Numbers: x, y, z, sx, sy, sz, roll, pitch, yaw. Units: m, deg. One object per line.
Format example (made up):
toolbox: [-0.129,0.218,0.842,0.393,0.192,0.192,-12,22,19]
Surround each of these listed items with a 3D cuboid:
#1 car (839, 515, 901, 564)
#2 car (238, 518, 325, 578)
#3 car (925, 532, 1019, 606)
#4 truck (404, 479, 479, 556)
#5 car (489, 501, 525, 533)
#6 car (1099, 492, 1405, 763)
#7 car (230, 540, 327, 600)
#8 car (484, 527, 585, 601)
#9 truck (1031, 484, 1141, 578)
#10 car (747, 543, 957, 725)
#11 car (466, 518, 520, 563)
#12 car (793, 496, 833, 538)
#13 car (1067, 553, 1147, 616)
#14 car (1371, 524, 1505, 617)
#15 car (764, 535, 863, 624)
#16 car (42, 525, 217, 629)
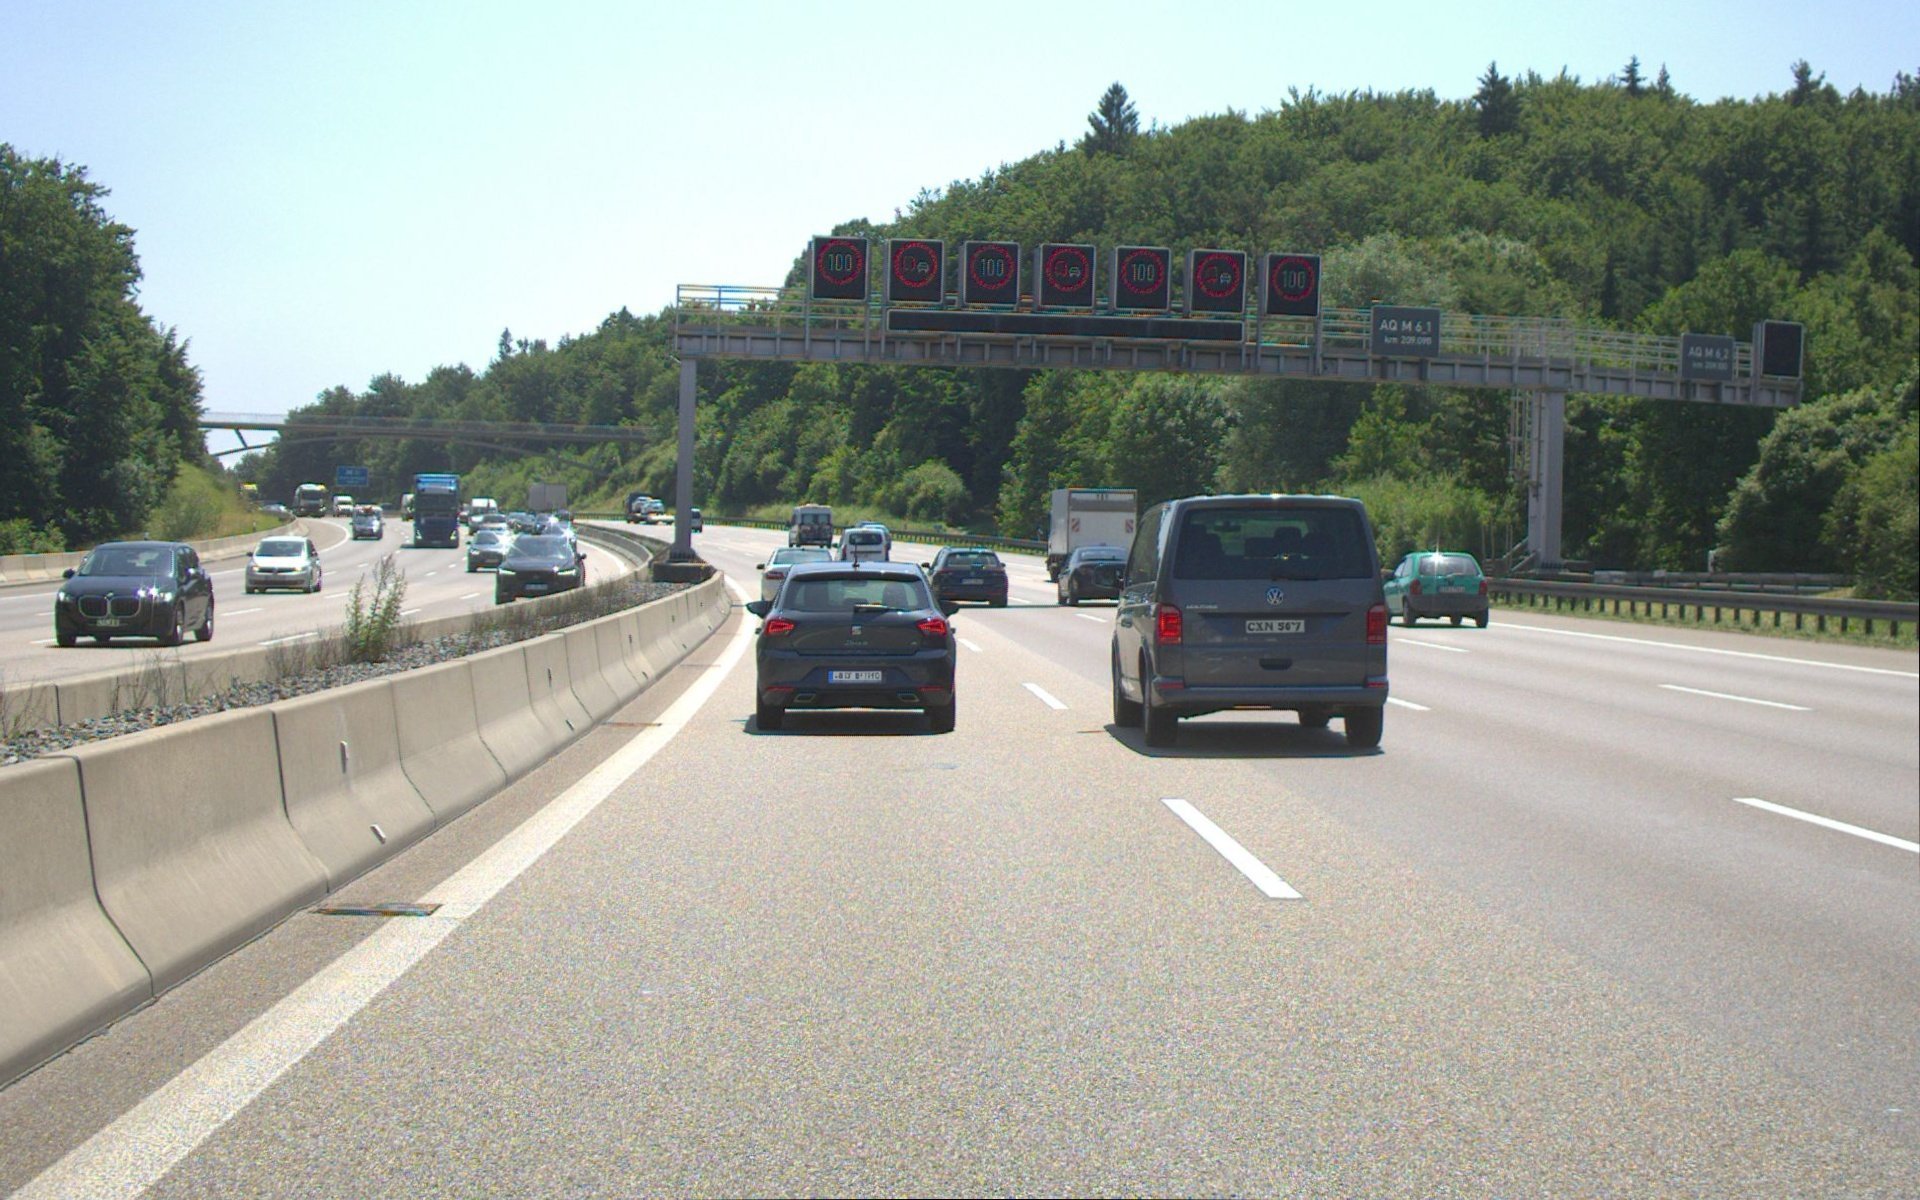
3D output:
car: [-3.405,-2.272,128.716,2.103,1.738,4.688,1,2,-4]
car: [-18.666,-1.440,94.763,1.717,1.599,4.282,0,1,-2]
car: [0.266,-0.739,82.845,1.993,1.722,4.149,0,0,-3]
truck: [-29.298,-4.661,194.565,3.785,4.163,5.880,1,1,-5]
car: [-28.219,-5.186,214.258,1.993,1.960,4.784,0,1,-4]
car: [2.298,0.171,28.373,1.963,2.026,5.084,0,1,-1]
car: [-18.761,-0.849,94.835,1.993,1.526,4.379,1,1,-3]
car: [-9.935,-0.854,80.482,1.993,1.662,4.435,0,1,-2]
truck: [4.333,-2.454,120.140,2.985,3.156,7.576,1,2,-4]
car: [-0.957,0.251,30.367,1.708,1.428,4.001,1,1,-2]
car: [-18.022,-2.315,132.775,1.754,1.629,4.639,0,2,-4]
car: [-8.503,-4.803,198.780,2.265,2.363,4.702,0,1,-2]
car: [3.604,-0.400,84.907,1.665,1.403,4.904,1,2,-1]
car: [9.207,-0.579,66.476,1.993,1.722,4.000,0,1,0]
car: [-3.265,-0.440,77.239,2.012,1.839,4.000,0,-2,0]
car: [-12.636,-0.326,52.561,1.761,1.515,4.362,0,0,-2]
